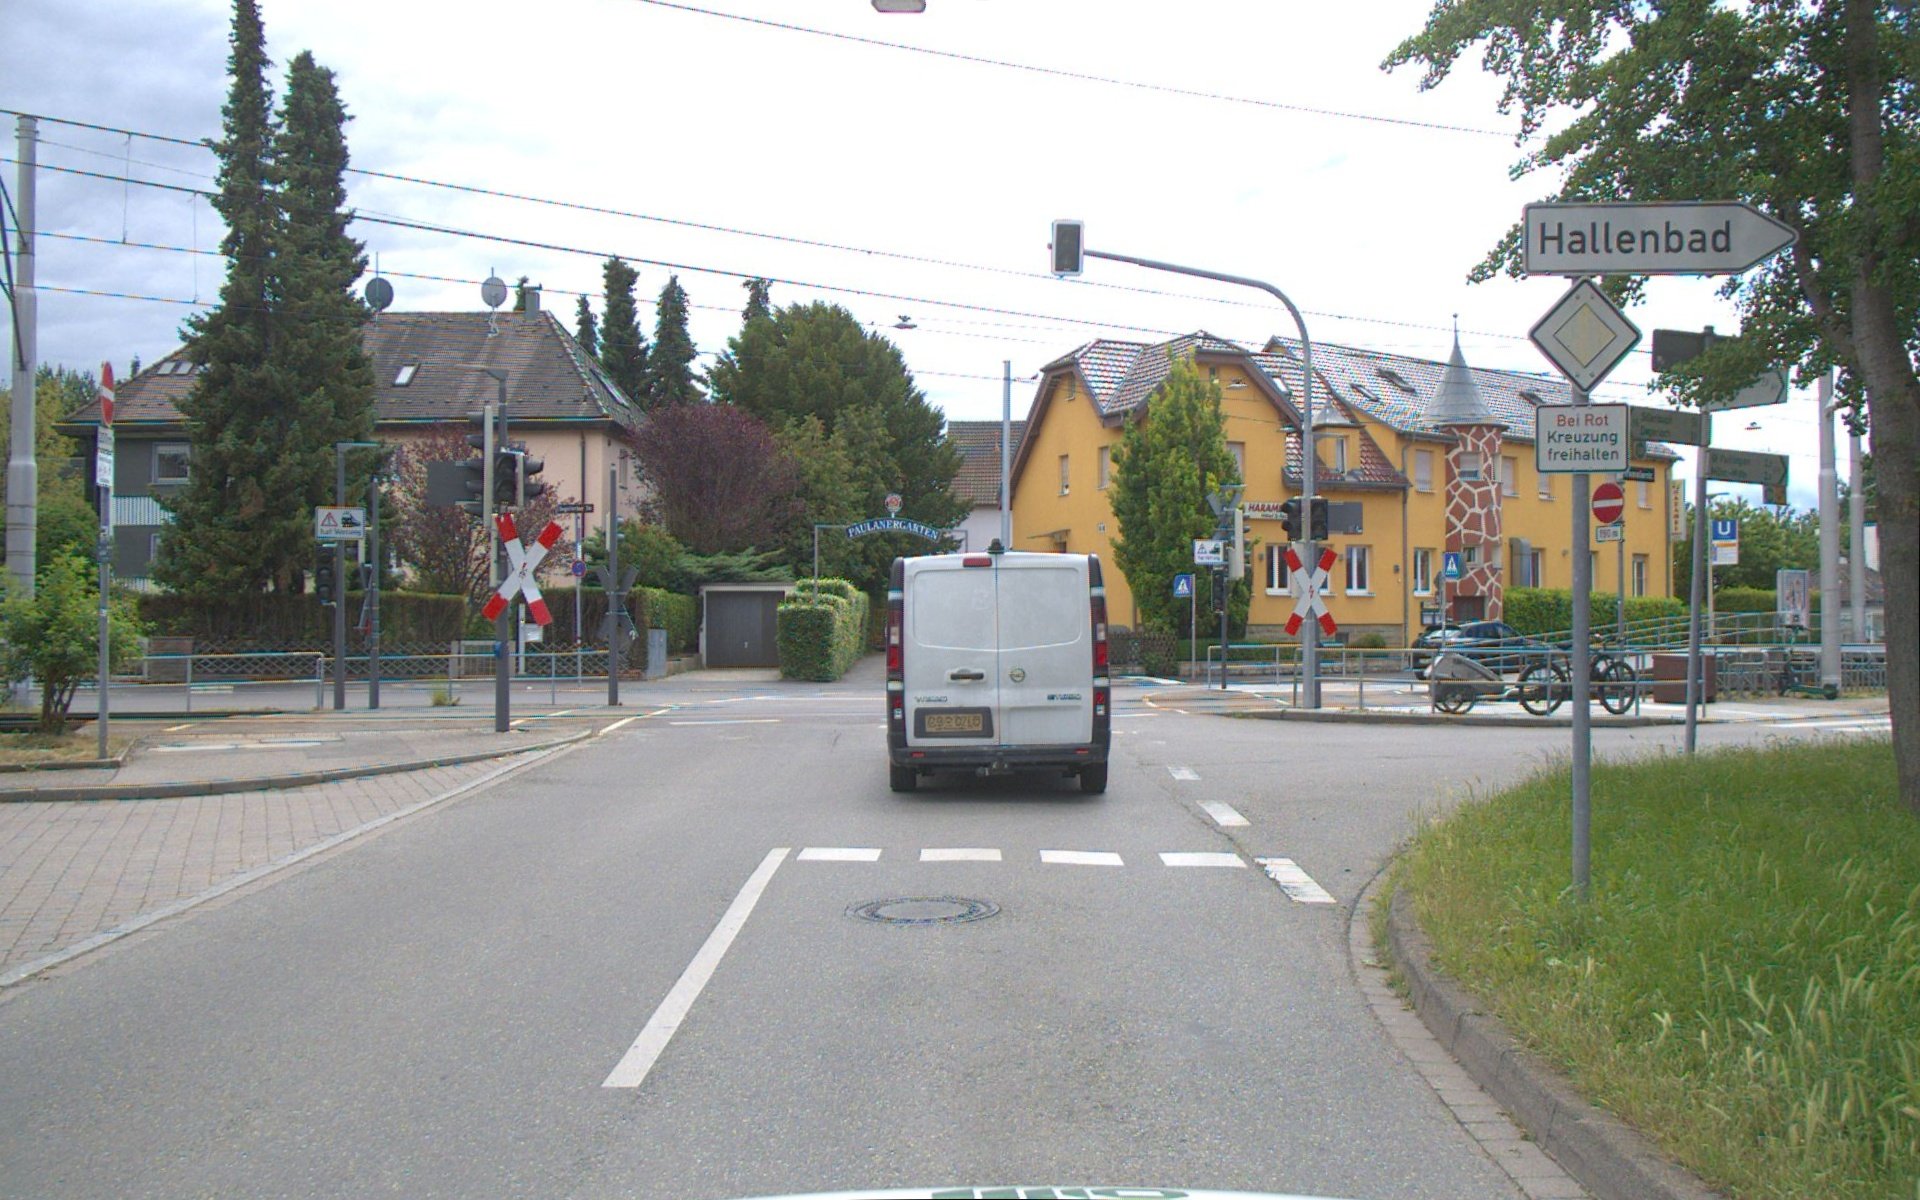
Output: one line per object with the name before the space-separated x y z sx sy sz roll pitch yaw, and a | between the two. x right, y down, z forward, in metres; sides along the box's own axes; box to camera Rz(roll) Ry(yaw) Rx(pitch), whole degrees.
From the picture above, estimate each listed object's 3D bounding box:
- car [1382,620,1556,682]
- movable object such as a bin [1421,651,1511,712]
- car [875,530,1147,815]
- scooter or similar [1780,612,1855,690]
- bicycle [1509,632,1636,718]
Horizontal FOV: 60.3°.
car | 13.994 1.406 45.453 4.315 1.591 2.337 2 -1 -32
movable object such as a bin | 7.106 1.141 23.241 1.070 0.839 0.579 0 -1 -5
car | 0.288 0.584 15.348 2.074 2.172 5.438 0 -1 -2
scooter or similar | 15.196 0.905 29.324 0.483 1.339 1.040 -1 -1 -30
bicycle | 8.616 1.052 23.270 1.655 1.176 0.465 0 -1 -9
